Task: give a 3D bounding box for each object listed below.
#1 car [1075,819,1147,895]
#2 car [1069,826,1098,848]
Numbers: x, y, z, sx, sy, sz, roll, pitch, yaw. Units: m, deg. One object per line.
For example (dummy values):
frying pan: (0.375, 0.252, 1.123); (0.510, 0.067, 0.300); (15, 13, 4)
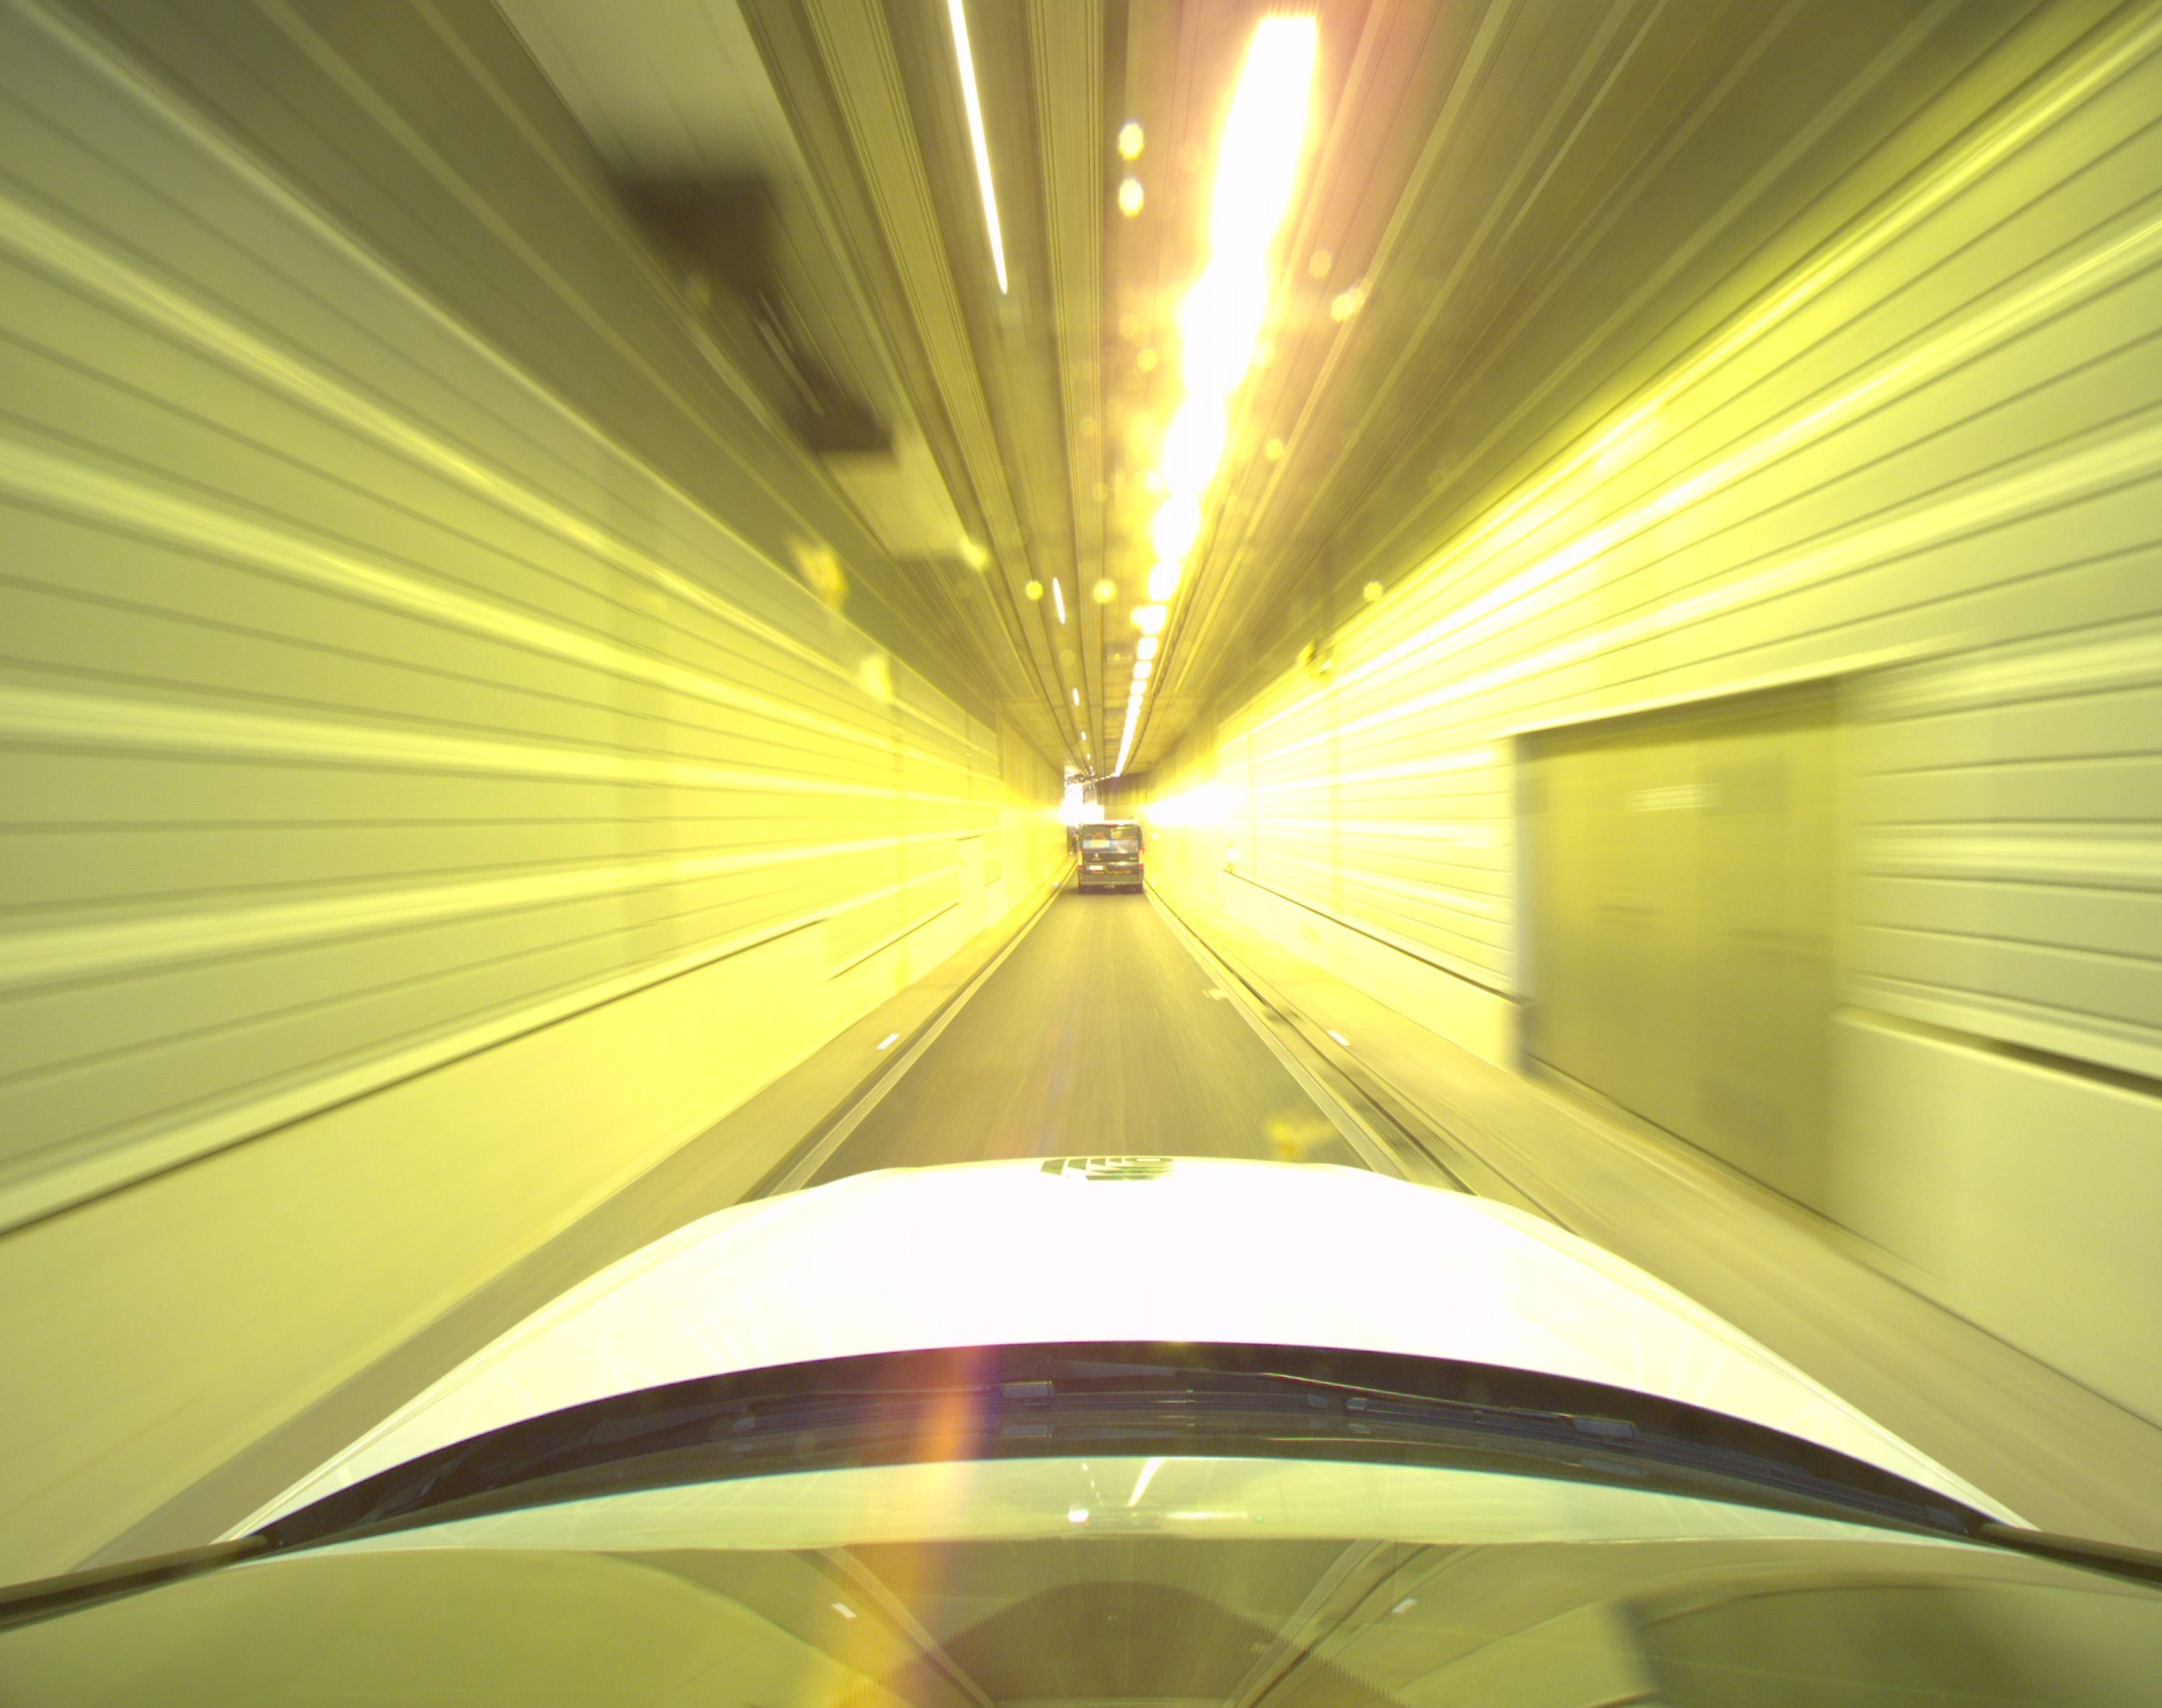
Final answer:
car: (0.953, 0.050, 26.721); (2.150, 2.265, 4.638); (0, 1, 1)
car: (0.195, -1.327, 61.779); (2.078, 1.513, 4.637); (-2, 3, 0)
